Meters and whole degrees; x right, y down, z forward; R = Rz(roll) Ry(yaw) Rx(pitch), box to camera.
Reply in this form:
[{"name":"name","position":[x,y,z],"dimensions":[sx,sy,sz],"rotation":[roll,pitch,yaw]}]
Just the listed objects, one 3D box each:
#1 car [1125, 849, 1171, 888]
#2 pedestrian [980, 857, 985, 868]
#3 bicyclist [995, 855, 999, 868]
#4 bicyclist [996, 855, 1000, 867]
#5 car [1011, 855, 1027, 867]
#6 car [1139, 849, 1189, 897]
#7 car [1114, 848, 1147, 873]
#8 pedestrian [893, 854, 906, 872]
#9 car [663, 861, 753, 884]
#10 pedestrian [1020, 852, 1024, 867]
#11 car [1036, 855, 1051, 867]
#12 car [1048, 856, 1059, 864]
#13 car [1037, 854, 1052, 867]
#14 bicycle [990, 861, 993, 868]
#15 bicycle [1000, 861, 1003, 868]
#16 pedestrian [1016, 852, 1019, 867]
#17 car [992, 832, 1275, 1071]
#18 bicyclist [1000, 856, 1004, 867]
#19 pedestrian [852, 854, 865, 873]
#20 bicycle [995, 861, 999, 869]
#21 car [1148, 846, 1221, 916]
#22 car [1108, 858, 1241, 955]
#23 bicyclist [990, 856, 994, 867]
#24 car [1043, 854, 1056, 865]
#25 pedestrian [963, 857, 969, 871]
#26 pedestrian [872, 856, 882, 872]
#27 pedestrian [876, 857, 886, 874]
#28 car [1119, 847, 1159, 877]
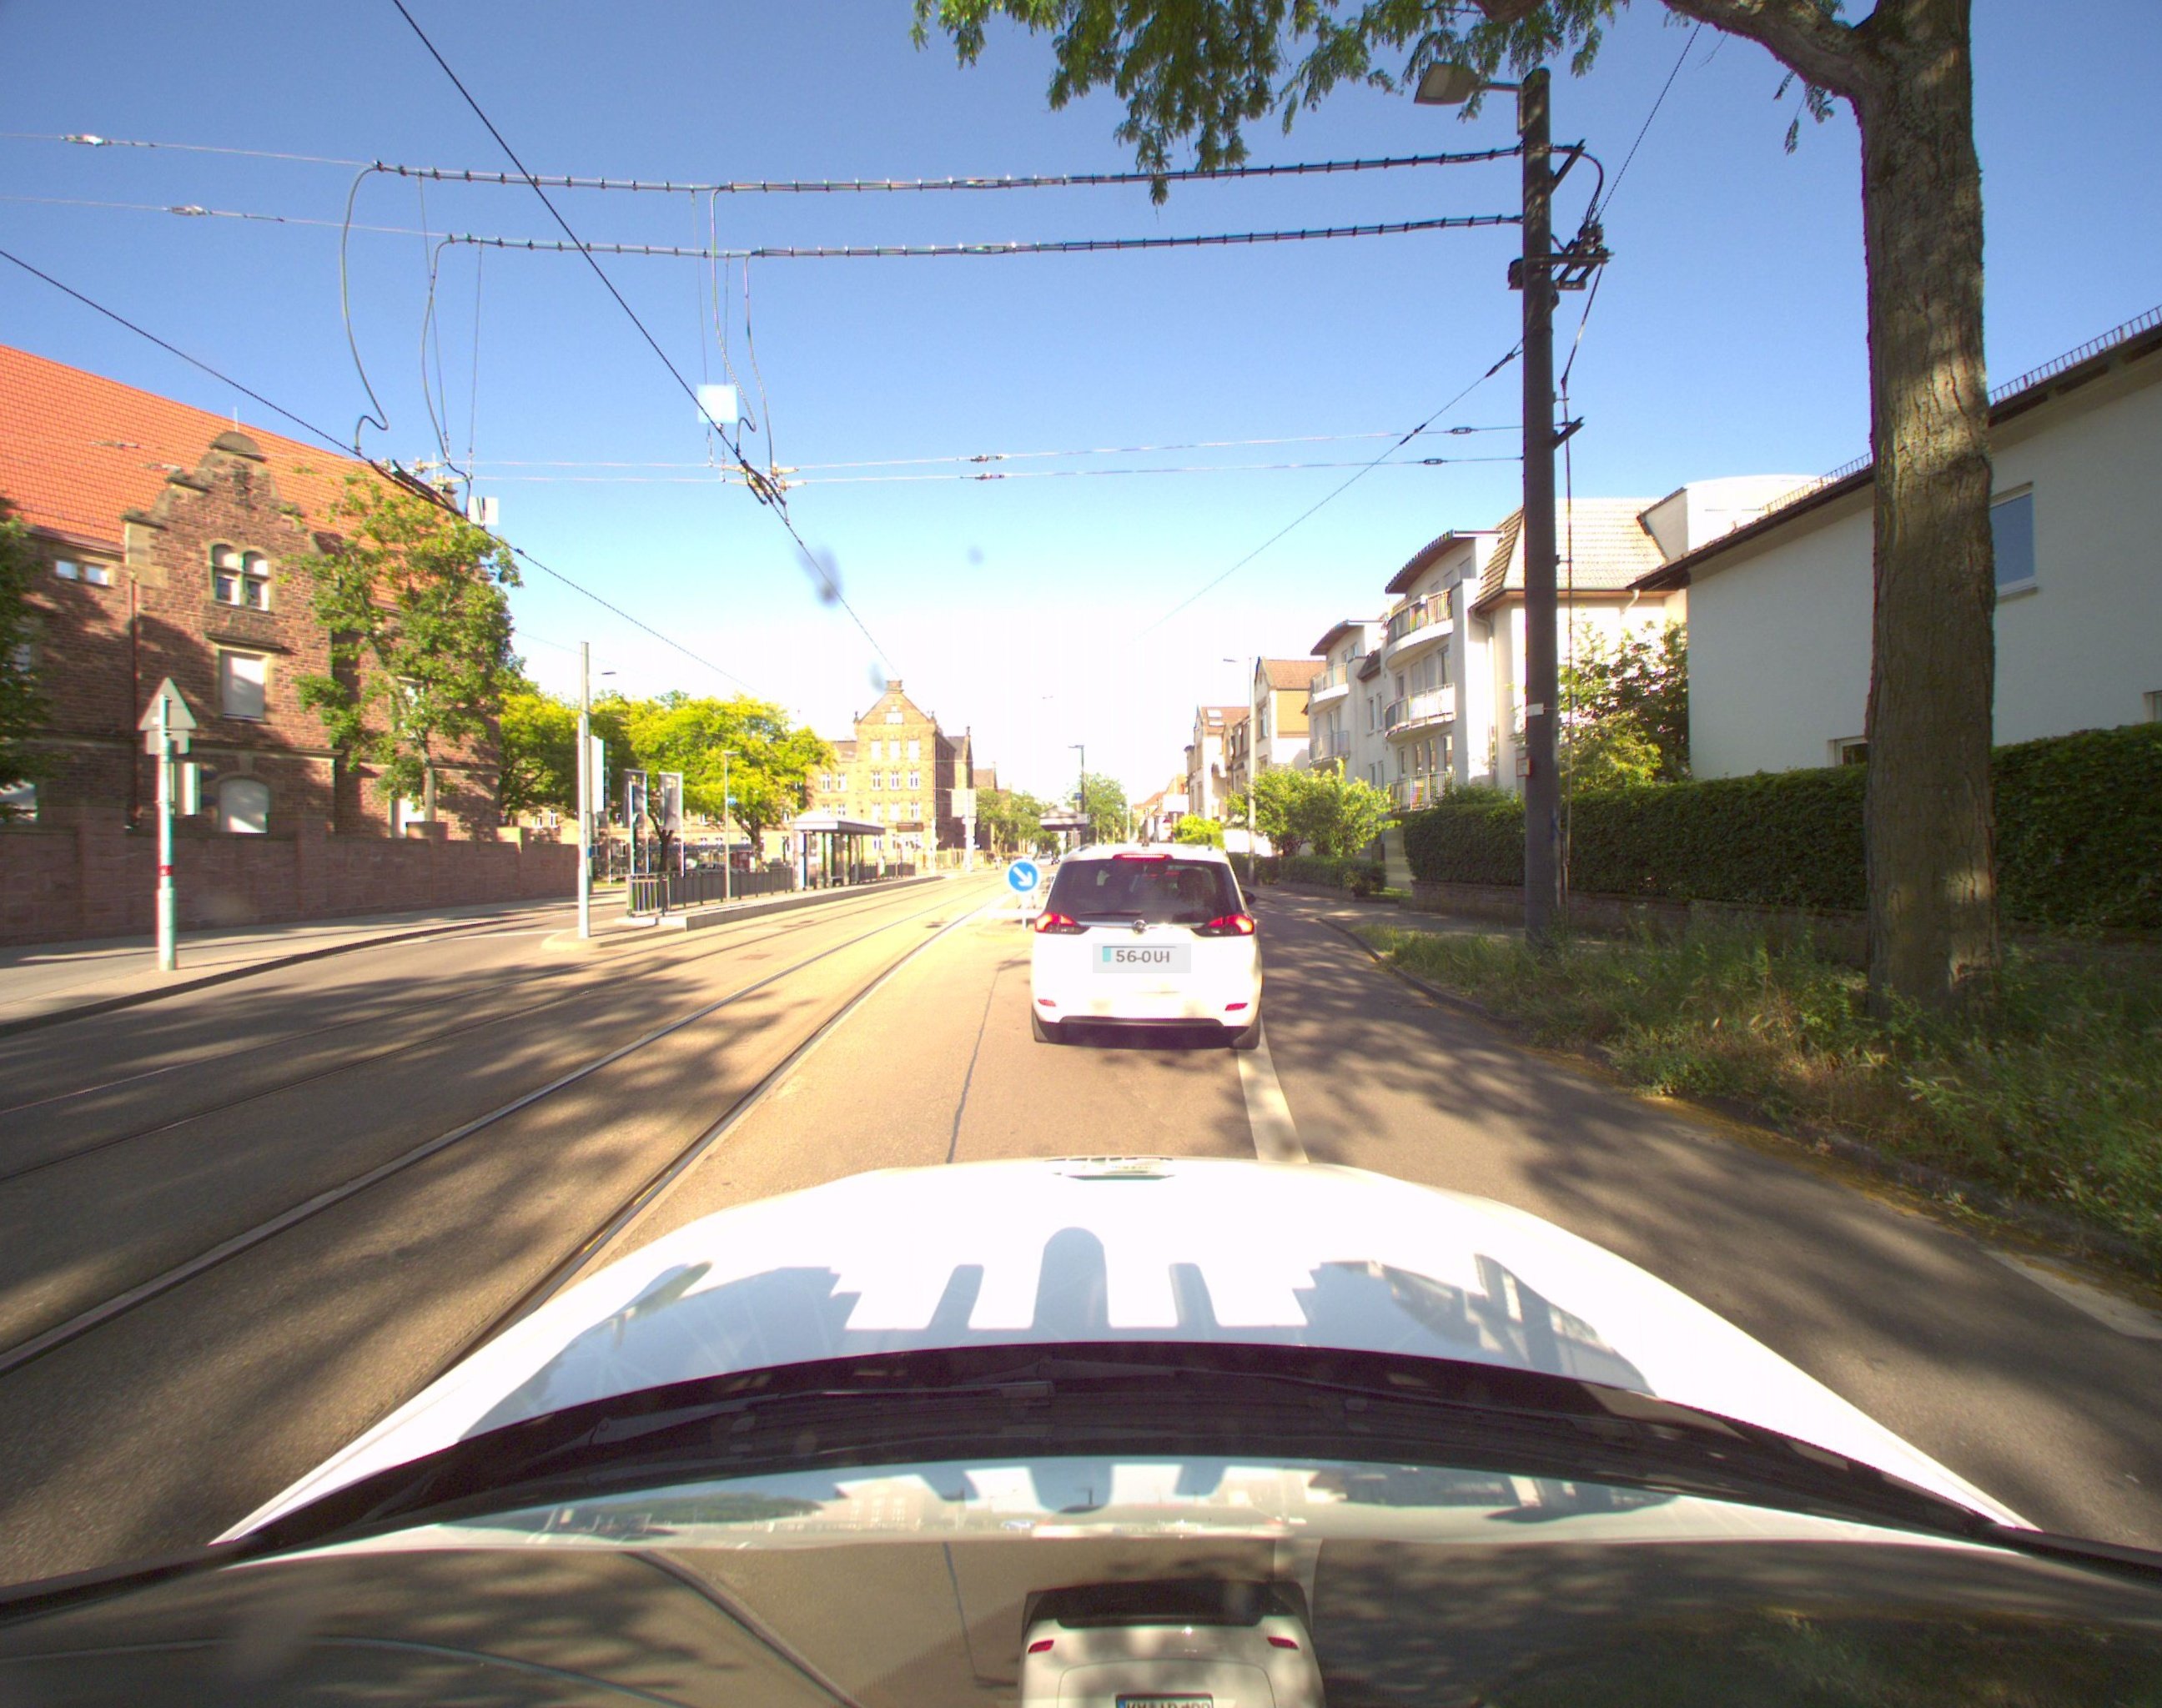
[{"name":"car","position":[2.933,0.609,36.256],"dimensions":[1.824,1.579,4.012],"rotation":[-1,0,2]},{"name":"pedestrian","position":[-15.432,1.302,127.142],"dimensions":[0.733,1.714,0.753],"rotation":[0,-1,-4]},{"name":"bicyclist","position":[-10.691,0.943,103.743],"dimensions":[0.443,1.553,0.742],"rotation":[-1,0,-2]},{"name":"bicyclist","position":[-10.962,0.973,107.034],"dimensions":[0.443,1.553,0.495],"rotation":[-1,0,-2]},{"name":"car","position":[-8.175,0.919,107.489],"dimensions":[1.989,1.629,3.996],"rotation":[-1,0,-3]},{"name":"car","position":[2.945,0.633,29.326],"dimensions":[1.630,1.601,3.859],"rotation":[-1,0,4]},{"name":"car","position":[3.107,0.382,51.850],"dimensions":[1.986,1.503,4.002],"rotation":[-1,0,2]},{"name":"pedestrian","position":[-17.125,0.882,76.861],"dimensions":[0.892,1.684,1.029],"rotation":[0,-1,1]},{"name":"car","position":[-34.547,1.725,75.633],"dimensions":[6.926,1.921,2.992],"rotation":[-1,0,0]},{"name":"pedestrian","position":[-8.142,0.767,112.656],"dimensions":[0.443,2.013,0.495],"rotation":[-1,0,-2]},{"name":"car","position":[-5.278,0.948,114.753],"dimensions":[1.989,1.629,3.996],"rotation":[-1,0,-3]},{"name":"car","position":[-5.381,1.169,159.818],"dimensions":[1.989,1.629,3.984],"rotation":[-1,0,-3]},{"name":"car","position":[-4.798,0.887,107.630],"dimensions":[1.989,1.629,3.996],"rotation":[-1,0,-3]},{"name":"bicycle","position":[-12.659,1.521,115.646],"dimensions":[0.343,0.950,0.996],"rotation":[0,-1,-1]},{"name":"bicycle","position":[-10.644,1.458,109.618],"dimensions":[0.343,0.950,0.996],"rotation":[0,-1,-1]},{"name":"pedestrian","position":[-8.751,0.770,112.385],"dimensions":[0.443,2.013,0.495],"rotation":[-1,0,-2]},{"name":"car","position":[0.641,0.683,7.710],"dimensions":[1.982,1.644,4.003],"rotation":[0,0,8]},{"name":"bicyclist","position":[-10.645,0.991,109.613],"dimensions":[0.443,1.553,0.495],"rotation":[-1,0,-2]},{"name":"pedestrian","position":[-20.180,0.888,73.891],"dimensions":[0.839,1.691,1.029],"rotation":[0,-1,1]},{"name":"bicycle","position":[-10.698,1.410,103.533],"dimensions":[0.343,0.950,1.160],"rotation":[0,-1,-1]},{"name":"car","position":[2.573,0.636,20.900],"dimensions":[1.630,1.601,3.859],"rotation":[-1,0,4]},{"name":"car","position":[1.530,0.789,14.072],"dimensions":[1.944,1.397,4.005],"rotation":[-1,0,4]},{"name":"bicyclist","position":[-12.666,1.053,115.612],"dimensions":[0.443,1.553,0.495],"rotation":[-1,0,-2]},{"name":"car","position":[-5.101,0.904,132.688],"dimensions":[1.987,1.629,4.000],"rotation":[-1,0,0]},{"name":"pedestrian","position":[-14.765,1.253,104.353],"dimensions":[0.733,1.714,0.705],"rotation":[0,-1,-7]},{"name":"pedestrian","position":[-20.380,0.989,81.442],"dimensions":[0.799,1.588,0.934],"rotation":[0,-1,0]},{"name":"pedestrian","position":[-19.198,1.123,78.149],"dimensions":[0.799,1.588,0.934],"rotation":[0,-1,0]},{"name":"car","position":[3.131,0.411,44.382],"dimensions":[1.986,1.503,4.002],"rotation":[-1,0,2]}]
